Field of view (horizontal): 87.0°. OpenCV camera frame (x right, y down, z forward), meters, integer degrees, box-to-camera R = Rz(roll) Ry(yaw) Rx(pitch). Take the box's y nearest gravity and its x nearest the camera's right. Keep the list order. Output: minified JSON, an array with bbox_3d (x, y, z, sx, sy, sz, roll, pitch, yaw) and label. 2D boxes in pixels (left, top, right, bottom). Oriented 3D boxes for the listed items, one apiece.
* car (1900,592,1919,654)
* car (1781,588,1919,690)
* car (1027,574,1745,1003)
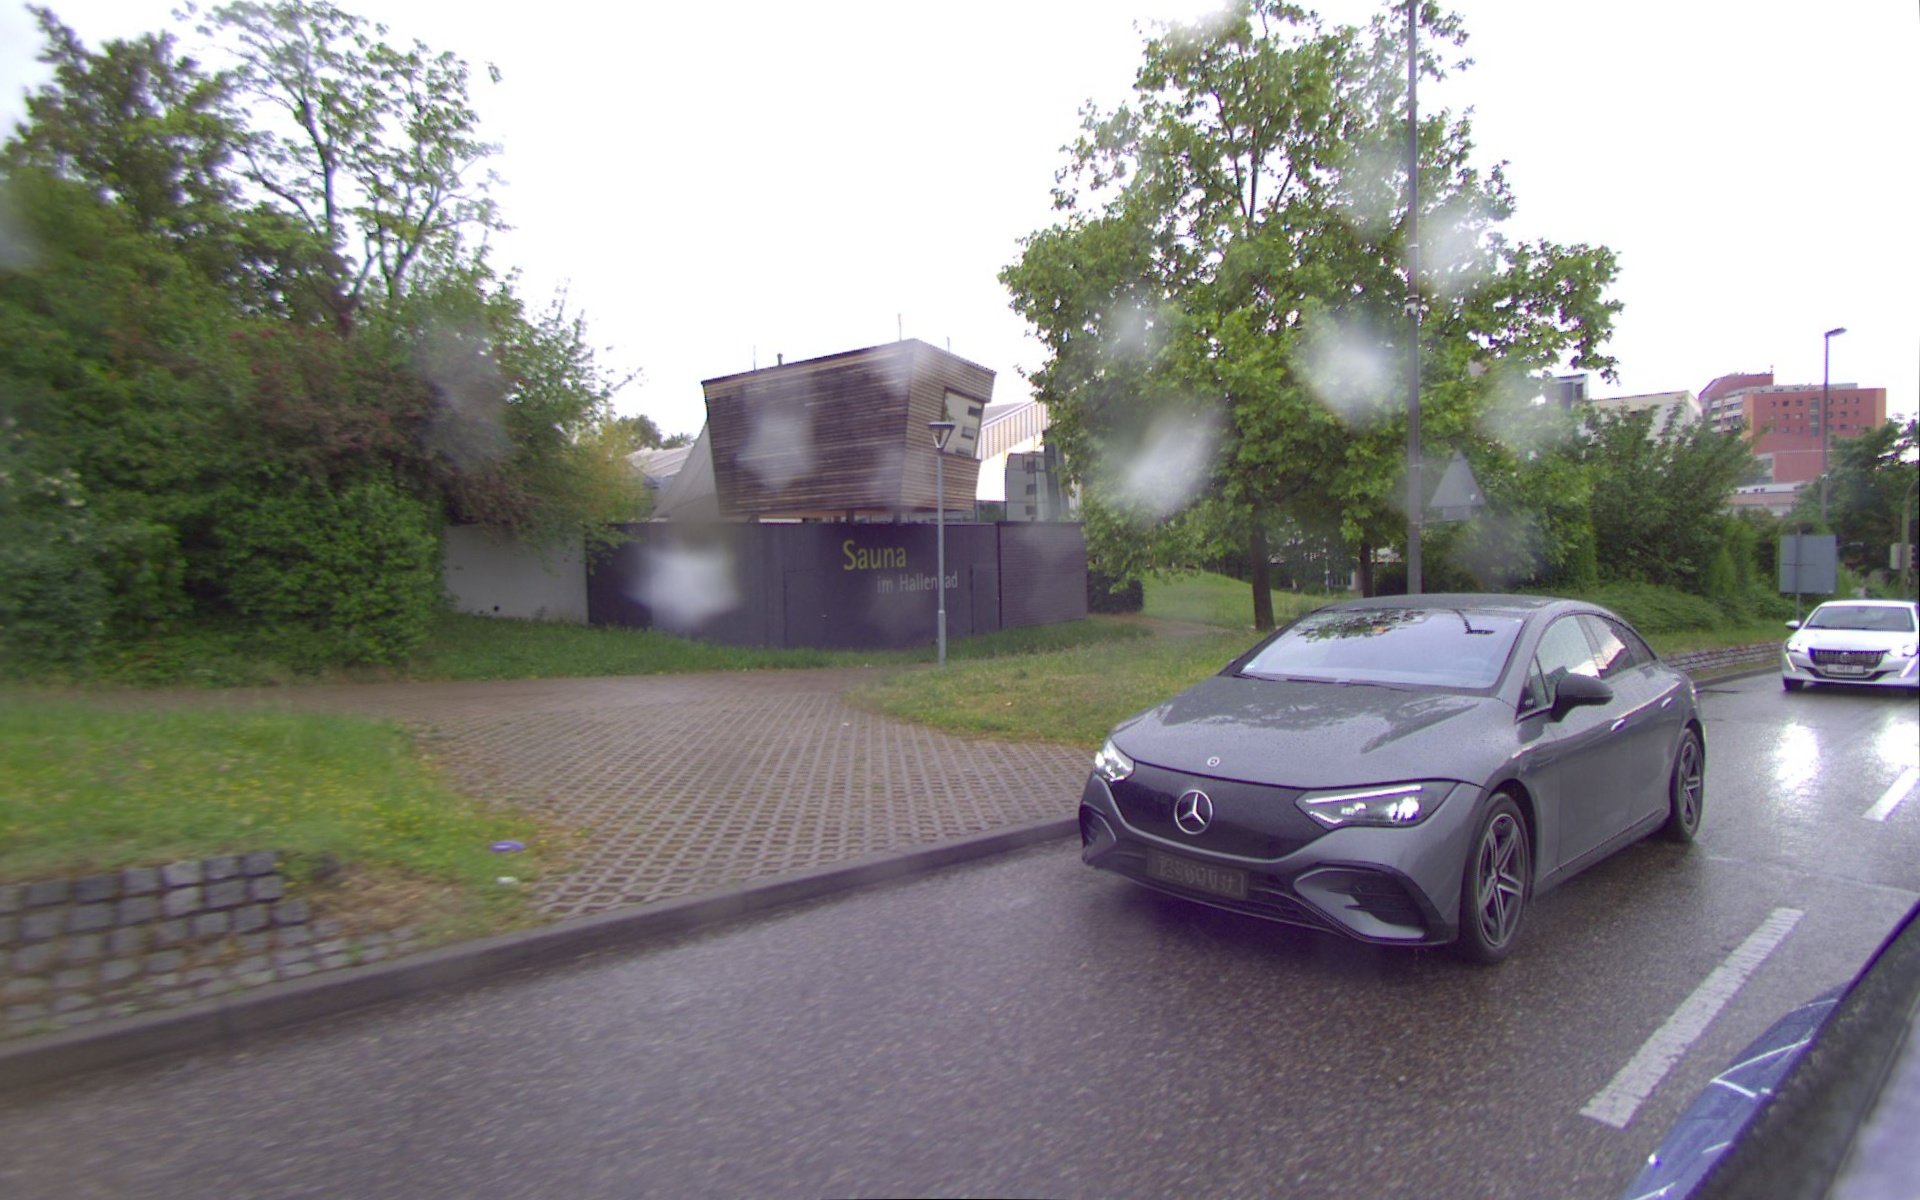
[{"bbox_3d":[23.890,0.505,24.051,3.667,1.394,1.718,-2,0,-38],"label":"car"},{"bbox_3d":[14.944,0.546,16.387,3.963,1.415,1.718,-2,0,-38],"label":"car"},{"bbox_3d":[2.638,0.625,5.663,4.470,1.462,1.835,-2,0,-40],"label":"car"}]
